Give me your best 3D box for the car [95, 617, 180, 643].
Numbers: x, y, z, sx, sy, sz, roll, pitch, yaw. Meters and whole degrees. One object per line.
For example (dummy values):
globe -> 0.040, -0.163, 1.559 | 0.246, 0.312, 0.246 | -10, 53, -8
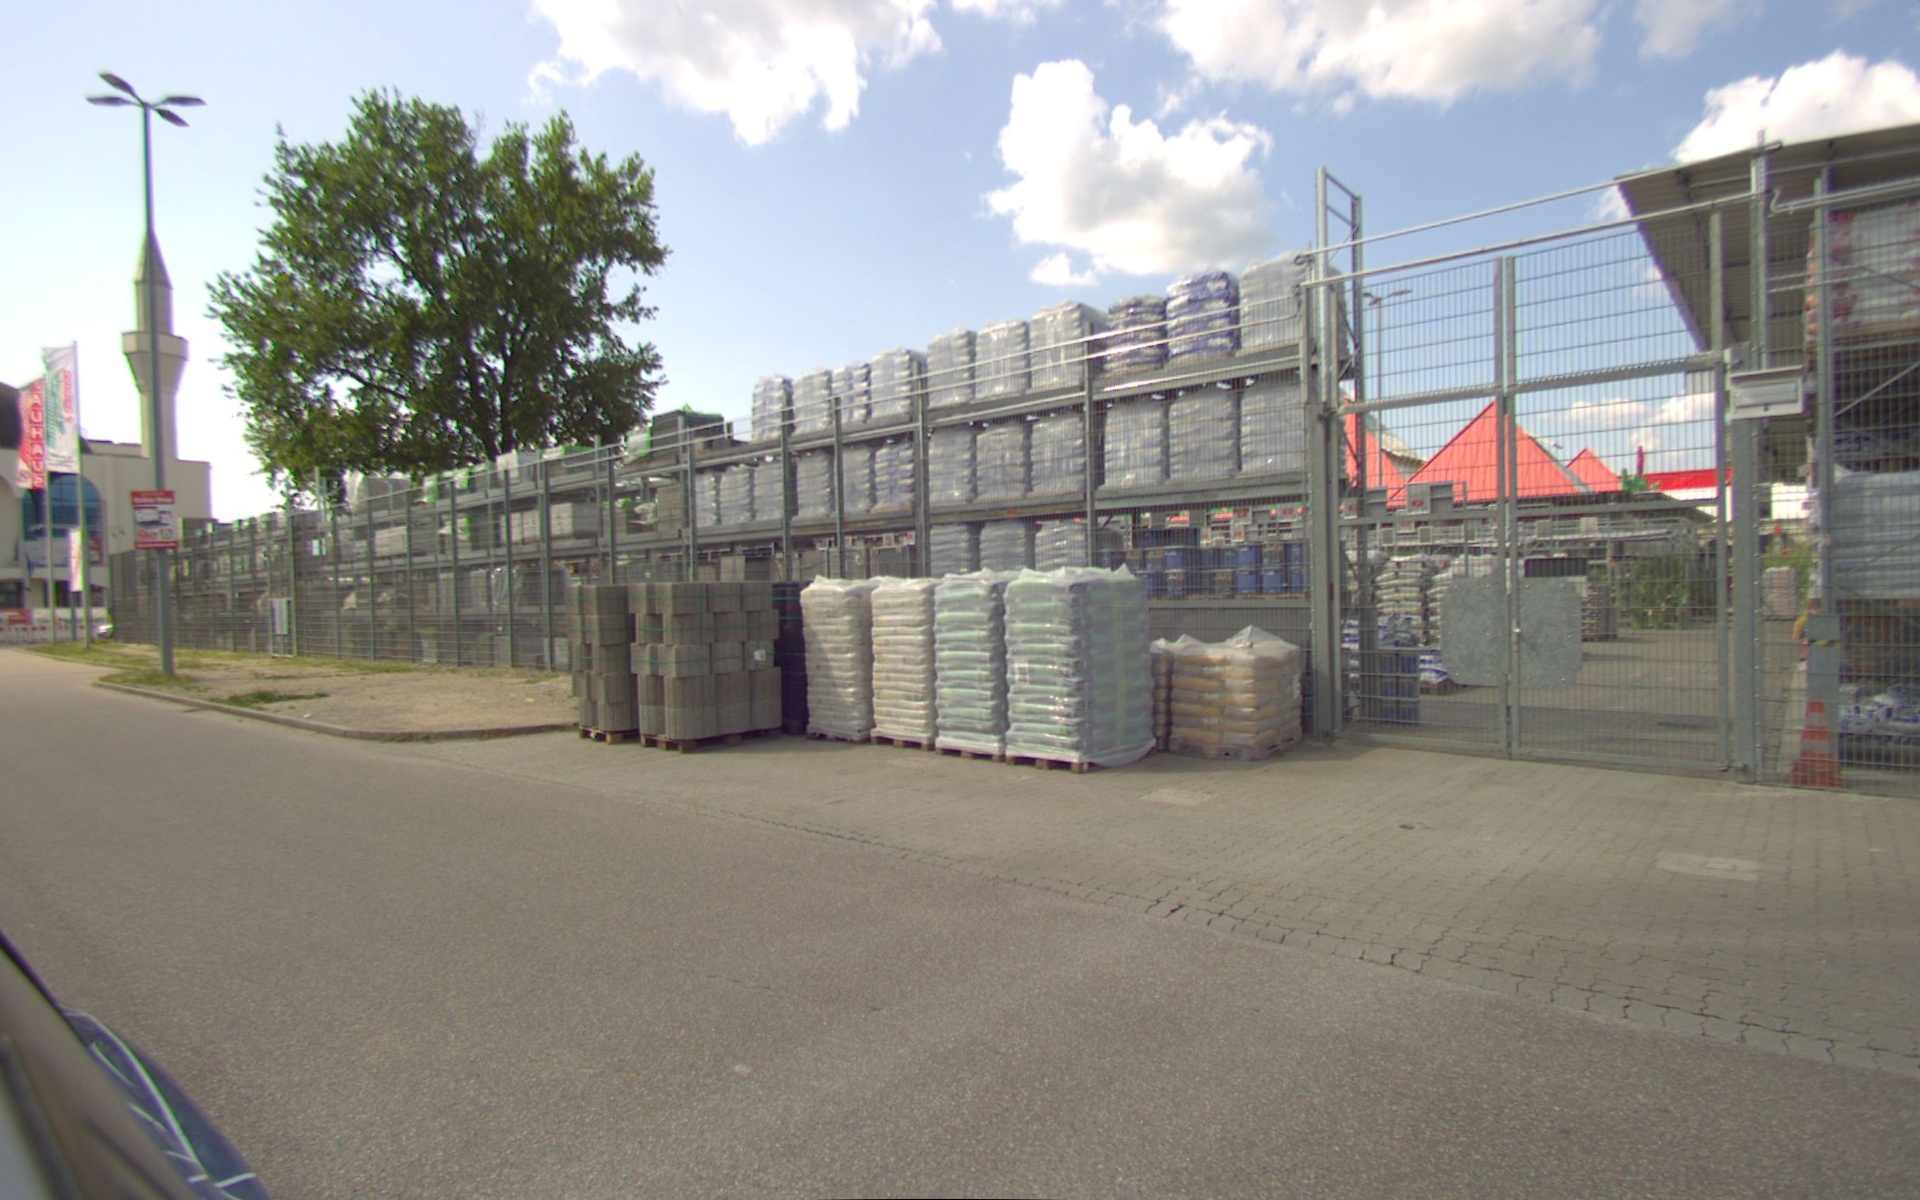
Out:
car -> -47.866, 1.734, 58.950 | 1.651, 1.377, 3.658 | -2, -1, 43
